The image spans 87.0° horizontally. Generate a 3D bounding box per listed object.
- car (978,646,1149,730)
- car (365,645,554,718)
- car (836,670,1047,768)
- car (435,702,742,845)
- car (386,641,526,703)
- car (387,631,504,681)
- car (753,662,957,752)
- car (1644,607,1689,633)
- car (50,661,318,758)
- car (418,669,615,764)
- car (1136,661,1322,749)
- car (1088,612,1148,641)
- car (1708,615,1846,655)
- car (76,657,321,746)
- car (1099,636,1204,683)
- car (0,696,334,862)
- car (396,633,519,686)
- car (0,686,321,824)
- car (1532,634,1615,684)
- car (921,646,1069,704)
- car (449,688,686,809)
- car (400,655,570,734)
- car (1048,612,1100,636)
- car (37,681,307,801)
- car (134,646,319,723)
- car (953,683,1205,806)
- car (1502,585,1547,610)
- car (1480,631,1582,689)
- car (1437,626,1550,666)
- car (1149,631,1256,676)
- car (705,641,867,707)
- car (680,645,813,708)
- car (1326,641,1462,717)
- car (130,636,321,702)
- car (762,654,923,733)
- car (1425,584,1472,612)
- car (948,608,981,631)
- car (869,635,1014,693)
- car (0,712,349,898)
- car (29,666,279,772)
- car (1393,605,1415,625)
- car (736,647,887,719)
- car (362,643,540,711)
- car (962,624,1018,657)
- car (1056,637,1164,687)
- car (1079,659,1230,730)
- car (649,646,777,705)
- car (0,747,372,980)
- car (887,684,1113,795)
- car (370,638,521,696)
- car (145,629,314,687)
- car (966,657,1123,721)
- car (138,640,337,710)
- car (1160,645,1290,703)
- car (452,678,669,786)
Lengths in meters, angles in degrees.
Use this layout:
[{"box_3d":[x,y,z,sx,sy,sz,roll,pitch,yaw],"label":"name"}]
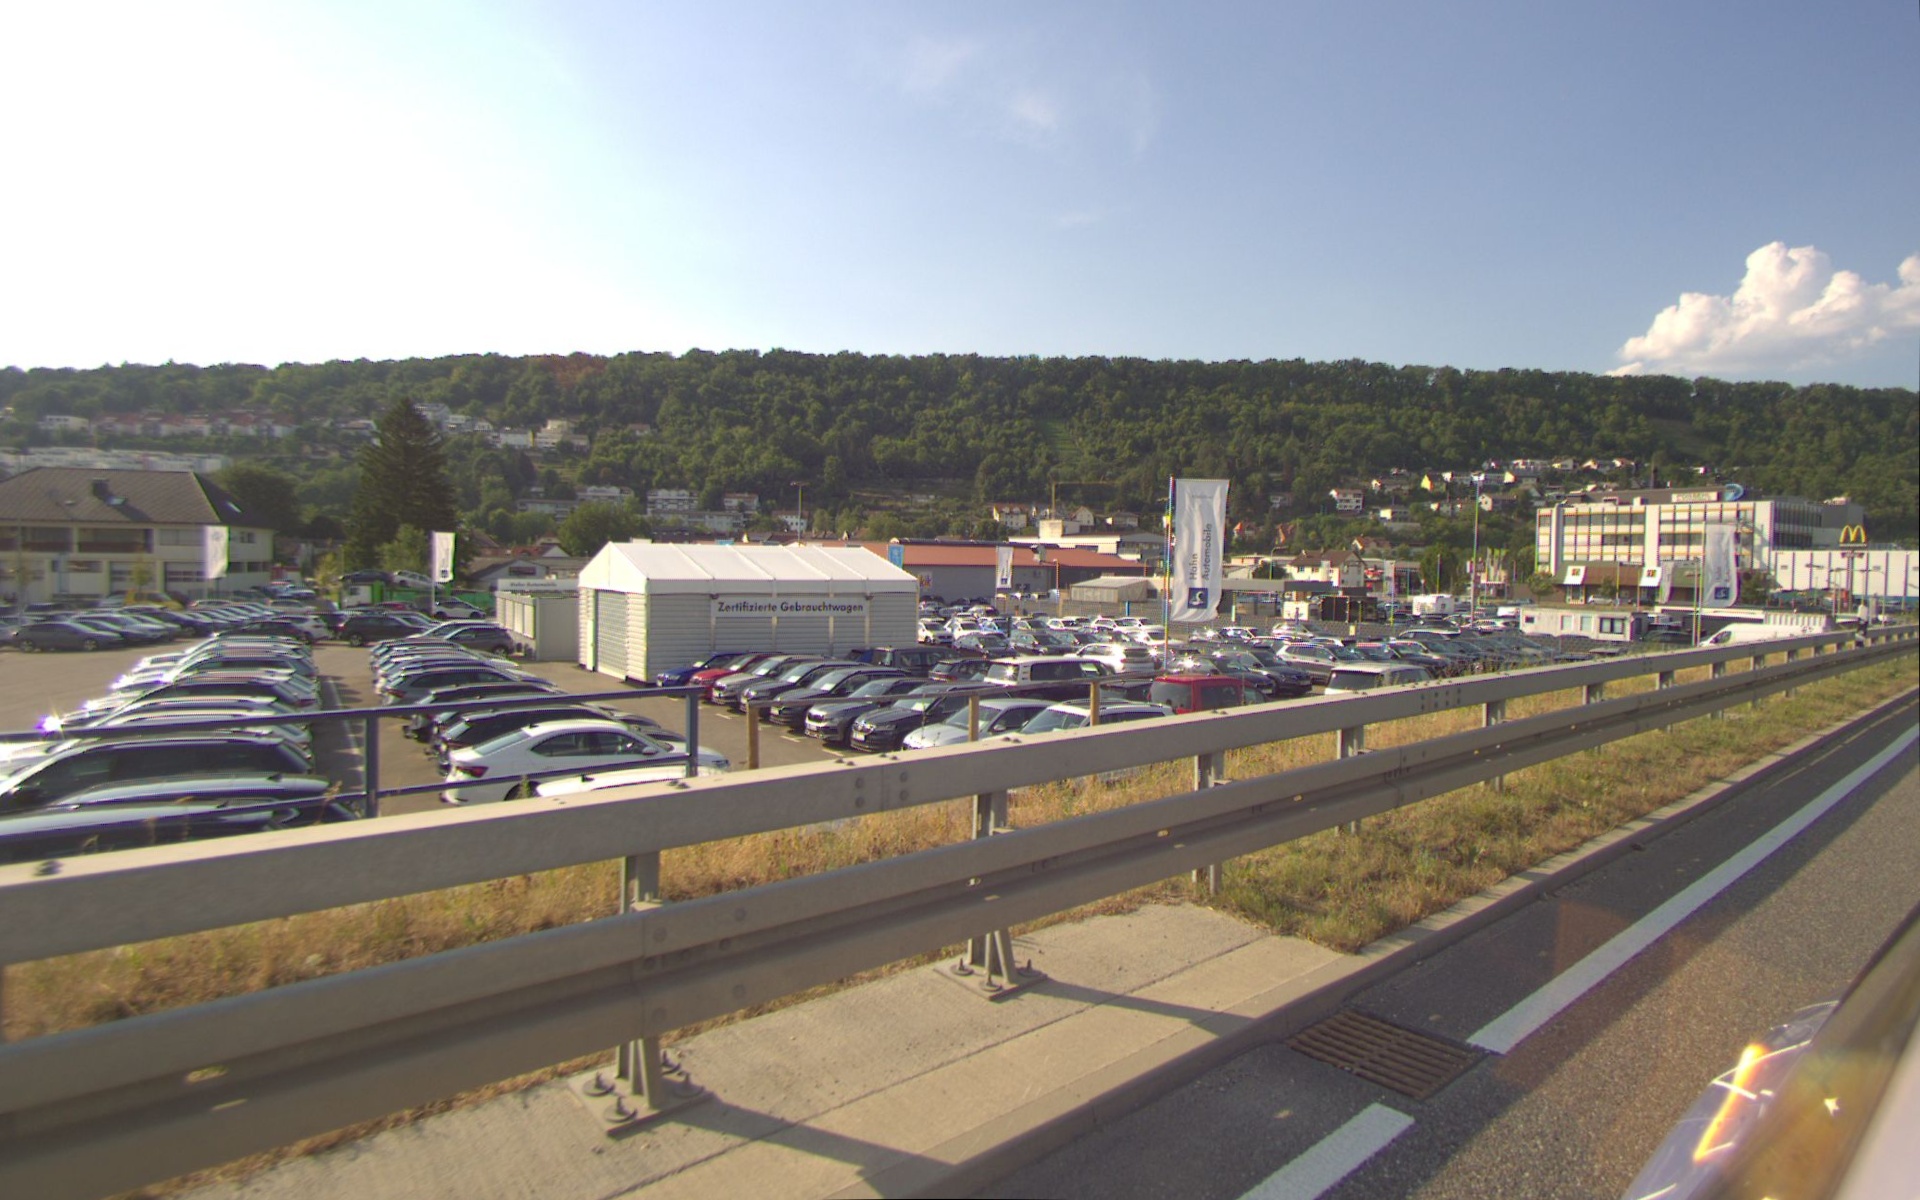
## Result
[{"box_3d":[2.973,2.417,28.826,4.636,1.955,1.887,-1,1,-31],"label":"car"},{"box_3d":[-14.291,2.264,29.000,4.640,1.657,1.885,-1,1,-36],"label":"car"},{"box_3d":[-0.356,2.622,23.254,4.643,1.657,1.885,-1,1,-37],"label":"car"},{"box_3d":[-6.236,2.801,17.129,4.635,1.657,1.888,-1,1,-30],"label":"car"},{"box_3d":[-16.583,2.327,33.318,3.924,1.705,1.781,-1,1,-34],"label":"car"},{"box_3d":[-20.264,2.175,39.925,3.924,1.705,1.781,-1,1,-34],"label":"car"},{"box_3d":[-2.499,2.511,24.678,4.640,1.657,1.886,-1,1,-35],"label":"car"},{"box_3d":[58.921,1.648,84.413,4.739,1.976,1.760,-1,1,-38],"label":"car"},{"box_3d":[-17.365,2.374,22.927,4.642,1.657,1.885,-1,1,-37],"label":"car"},{"box_3d":[-10.210,2.612,23.379,3.924,1.705,1.781,-1,1,-34],"label":"car"},{"box_3d":[6.626,2.473,24.741,4.641,1.646,1.885,-1,1,-36],"label":"car"},{"box_3d":[10.976,1.818,70.497,1.889,1.883,4.002,-1,1,-33],"label":"car"},{"box_3d":[47.009,1.967,58.357,1.963,2.039,5.897,-1,1,-37],"label":"car"},{"box_3d":[-18.513,2.391,24.811,4.644,1.657,1.884,-1,1,-38],"label":"car"},{"box_3d":[8.032,2.465,42.832,1.849,1.657,4.441,-1,1,-33],"label":"car"},{"box_3d":[-12.151,2.560,15.059,4.587,1.737,1.838,-1,1,-42],"label":"car"},{"box_3d":[-18.856,2.201,38.003,3.924,1.705,1.781,-1,1,-34],"label":"car"},{"box_3d":[-13.743,2.530,17.245,4.645,1.657,1.884,-1,1,-39],"label":"car"},{"box_3d":[23.879,2.237,39.330,4.240,1.646,1.739,-1,1,-44],"label":"car"},{"box_3d":[1.189,2.415,33.524,4.636,1.541,1.887,-1,1,-31],"label":"car"},{"box_3d":[-7.449,2.725,19.331,3.924,1.705,1.781,-1,1,-34],"label":"car"},{"box_3d":[-12.741,2.469,27.219,3.924,1.705,1.781,-1,1,-34],"label":"car"},{"box_3d":[8.419,1.768,75.148,1.723,1.661,3.967,-1,1,-33],"label":"car"},{"box_3d":[-14.872,2.597,19.395,3.924,1.705,1.781,-1,1,-34],"label":"car"},{"box_3d":[-19.763,2.217,27.426,3.925,1.705,1.780,-1,1,-36],"label":"car"},{"box_3d":[2.320,2.613,19.179,4.639,1.646,1.886,-1,1,-34],"label":"car"},{"box_3d":[52.856,-0.261,94.664,5.200,2.274,1.760,-1,1,-38],"label":"car"},{"box_3d":[19.471,1.982,34.447,4.237,1.646,1.740,-1,1,-41],"label":"car"},{"box_3d":[25.420,2.141,48.353,1.849,1.657,4.441,-1,1,-33],"label":"car"},{"box_3d":[10.456,2.263,43.926,1.849,1.657,4.441,-1,1,-33],"label":"car"},{"box_3d":[-5.372,2.235,31.563,4.640,1.657,1.886,-1,1,-35],"label":"car"},{"box_3d":[-7.009,2.461,33.344,3.924,1.705,1.781,-1,1,-34],"label":"car"},{"box_3d":[11.915,2.075,27.639,1.880,1.646,4.654,0,1,44],"label":"car"},{"box_3d":[-22.552,2.073,31.272,4.641,1.657,1.885,-1,1,-36],"label":"car"},{"box_3d":[-3.118,2.441,27.184,3.924,1.705,1.781,-1,1,-34],"label":"car"},{"box_3d":[46.247,-0.246,95.806,5.369,2.581,1.760,-1,1,-38],"label":"car"},{"box_3d":[0.390,1.552,79.907,1.855,1.656,4.427,0,1,10],"label":"car"},{"box_3d":[-0.610,2.151,34.764,4.636,1.657,1.887,-1,1,-31],"label":"car"},{"box_3d":[-10.939,2.617,13.361,4.648,1.671,2.002,-1,1,-42],"label":"car"},{"box_3d":[-16.560,2.376,21.070,3.925,1.705,1.780,-1,1,-36],"label":"car"},{"box_3d":[37.596,1.232,85.829,1.662,1.589,3.746,0,1,23],"label":"car"},{"box_3d":[-4.251,2.333,29.176,3.924,1.705,1.781,-1,1,-34],"label":"car"},{"box_3d":[-15.587,2.296,31.099,4.640,1.657,1.885,-1,1,-36],"label":"car"},{"box_3d":[1.620,2.187,55.756,1.595,1.594,3.492,-1,1,-26],"label":"car"},{"box_3d":[6.011,2.441,40.939,1.849,1.657,4.441,-1,1,-33],"label":"car"},{"box_3d":[5.193,2.446,26.847,3.924,1.490,1.675,-1,1,-34],"label":"car"},{"box_3d":[-8.547,2.564,35.108,3.924,1.705,1.781,-1,1,-34],"label":"car"},{"box_3d":[-8.983,2.813,11.301,3.930,1.705,1.778,-1,1,-41],"label":"car"},{"box_3d":[0.912,2.830,21.347,4.642,1.657,1.885,-1,1,-37],"label":"car"},{"box_3d":[-17.924,2.286,35.339,4.487,1.657,1.885,-1,1,-36],"label":"car"},{"box_3d":[-25.138,1.948,34.996,4.641,1.657,1.885,-1,1,-36],"label":"car"},{"box_3d":[2.653,2.700,31.409,4.636,1.541,1.887,-1,1,-31],"label":"car"},{"box_3d":[-21.104,2.142,29.765,4.641,1.657,1.885,-1,1,-36],"label":"car"},{"box_3d":[9.425,2.585,36.290,1.849,1.657,4.441,-1,1,-33],"label":"car"},{"box_3d":[-8.336,2.666,21.219,3.924,1.705,1.781,-1,1,-34],"label":"car"}]
